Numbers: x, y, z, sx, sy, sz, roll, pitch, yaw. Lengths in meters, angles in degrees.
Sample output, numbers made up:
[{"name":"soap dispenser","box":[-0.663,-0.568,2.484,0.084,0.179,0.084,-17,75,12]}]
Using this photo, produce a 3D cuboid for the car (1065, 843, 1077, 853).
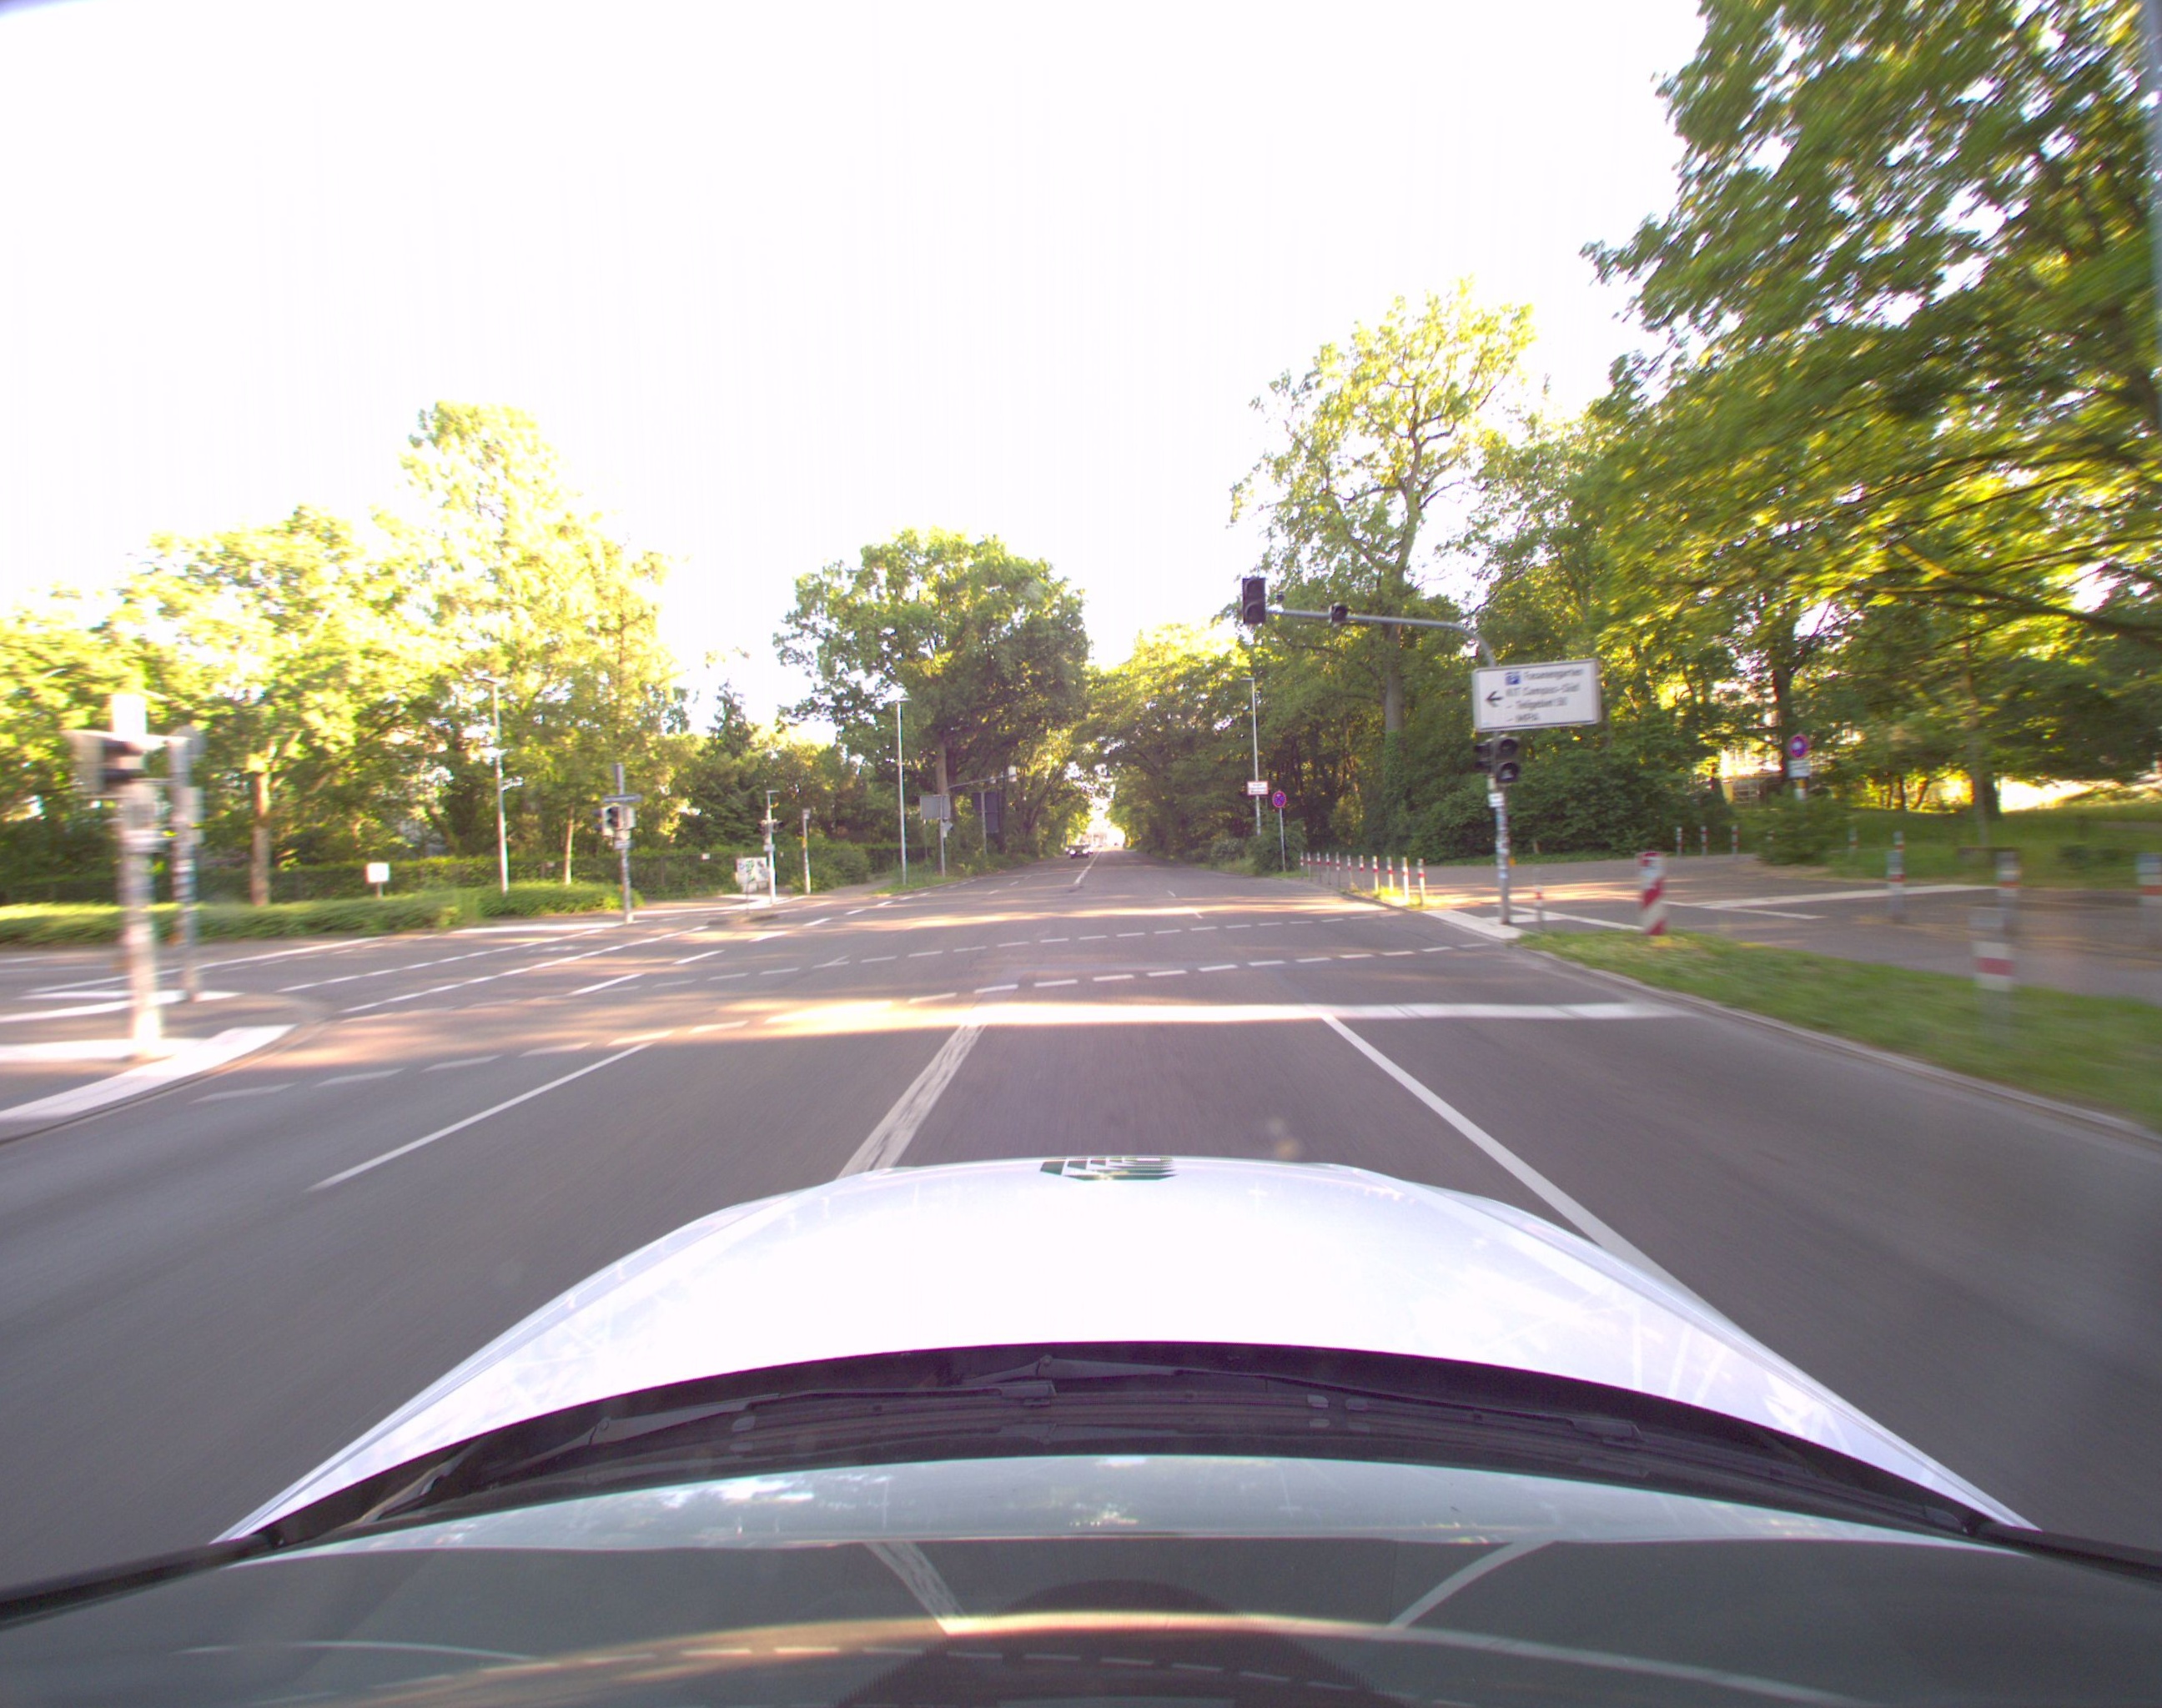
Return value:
[{"name":"car","box":[-1.606,-1.015,131.439,1.791,1.506,4.365,-3,1,1]}]

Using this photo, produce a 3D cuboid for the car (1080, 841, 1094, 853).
[{"name":"car","box":[0.874,-1.022,113.039,1.791,1.506,4.365,-3,1,1]}]

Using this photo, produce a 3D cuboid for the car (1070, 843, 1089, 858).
[{"name":"car","box":[-0.169,-0.416,89.172,1.881,1.506,4.365,-3,1,1]}]
